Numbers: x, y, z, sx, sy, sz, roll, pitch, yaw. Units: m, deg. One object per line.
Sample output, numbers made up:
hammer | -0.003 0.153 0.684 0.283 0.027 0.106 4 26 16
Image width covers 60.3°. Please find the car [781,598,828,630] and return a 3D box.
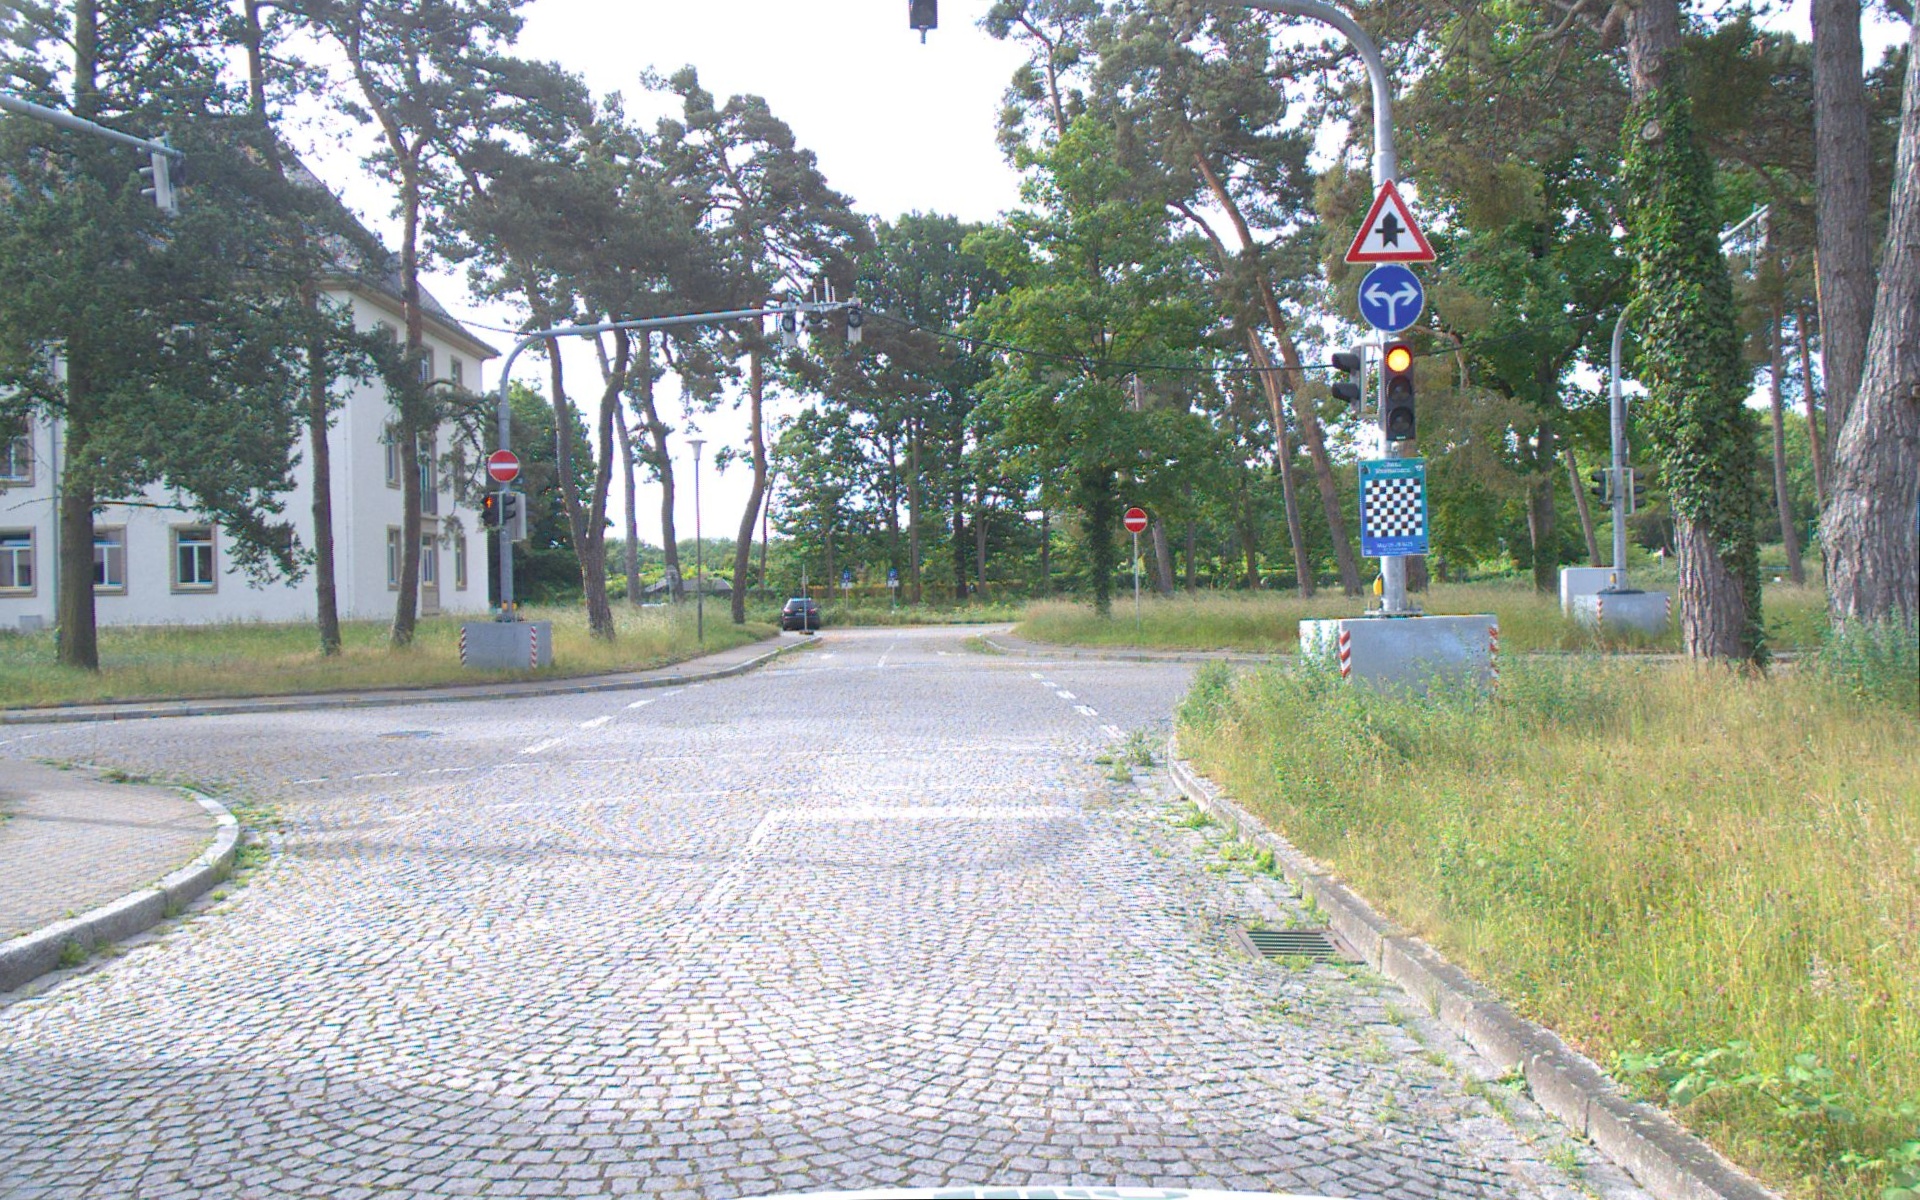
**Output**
car | -7.705 0.683 82.310 1.953 1.534 4.000 0 0 0
